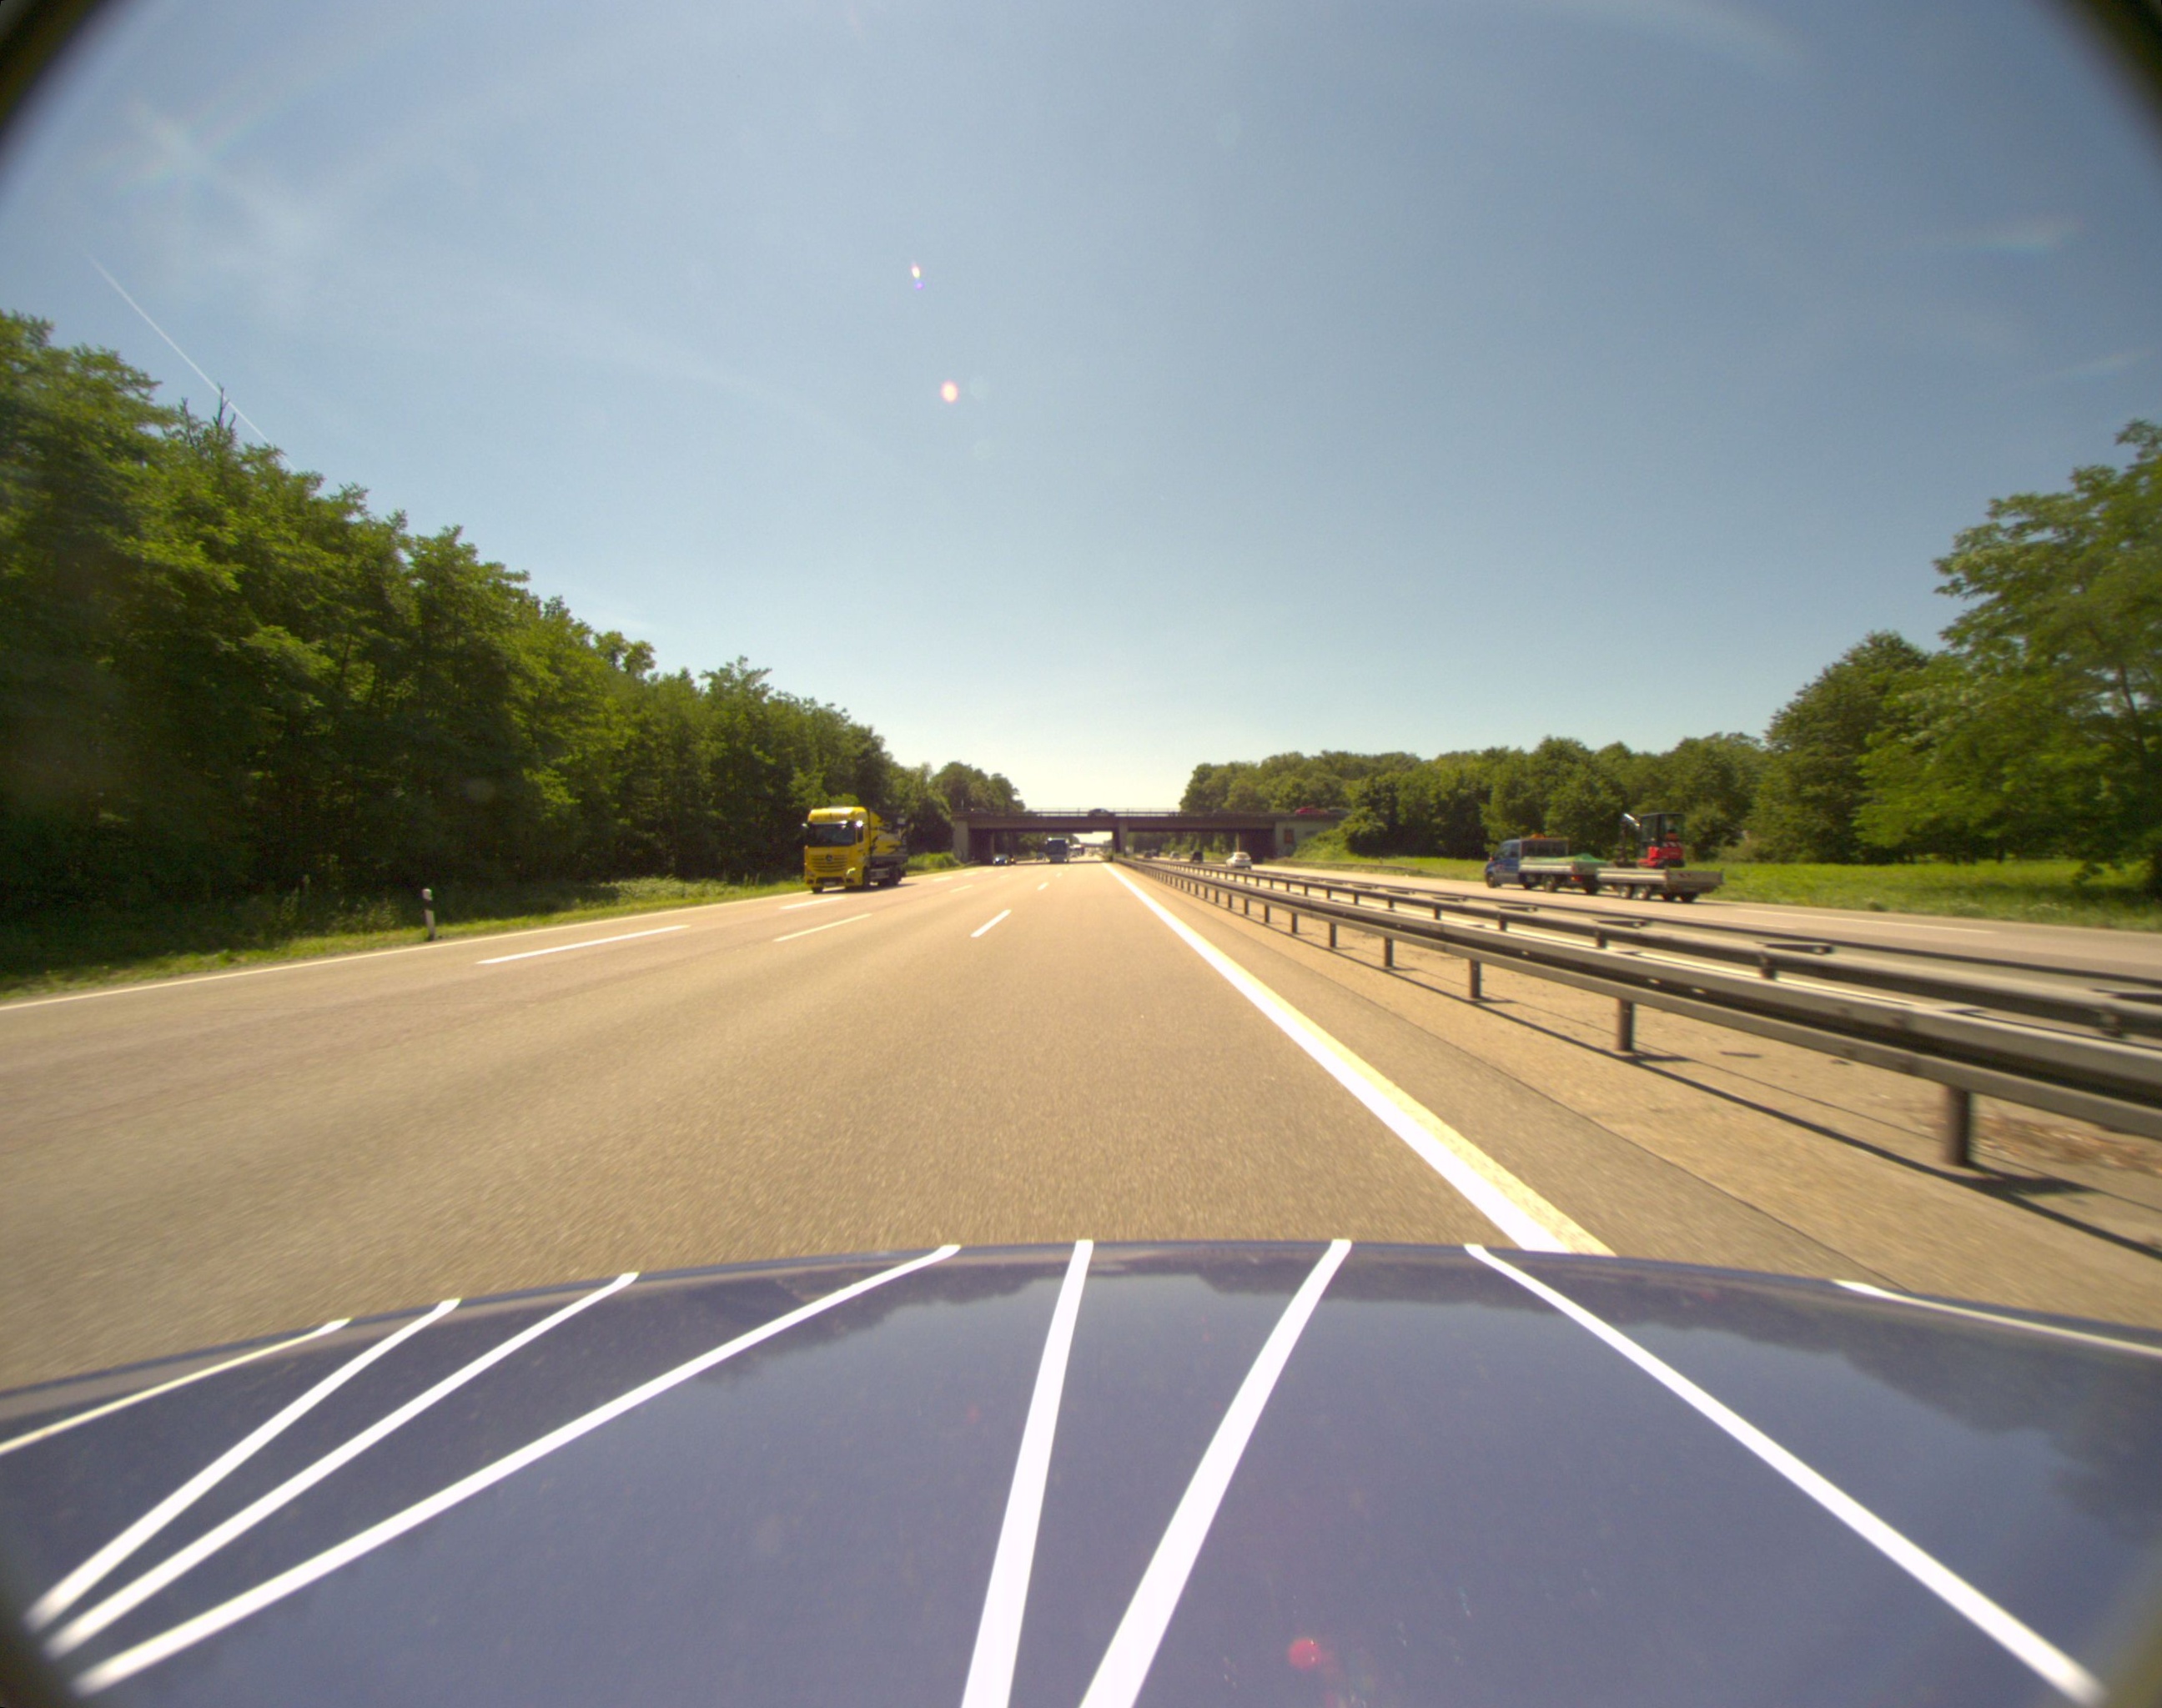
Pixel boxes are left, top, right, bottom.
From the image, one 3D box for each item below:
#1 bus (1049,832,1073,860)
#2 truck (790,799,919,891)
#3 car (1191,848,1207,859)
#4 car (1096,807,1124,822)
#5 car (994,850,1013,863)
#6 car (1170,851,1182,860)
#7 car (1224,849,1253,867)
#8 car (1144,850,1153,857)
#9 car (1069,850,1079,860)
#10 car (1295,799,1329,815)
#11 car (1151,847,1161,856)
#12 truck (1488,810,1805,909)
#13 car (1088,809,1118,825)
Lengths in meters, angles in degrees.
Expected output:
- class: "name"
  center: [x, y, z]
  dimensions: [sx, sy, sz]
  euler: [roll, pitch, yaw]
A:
- class: "bus"
  center: [-2.662, -1.098, 105.540]
  dimensions: [2.617, 3.532, 13.681]
  euler: [-2, 1, 1]
- class: "truck"
  center: [-11.351, -0.470, 39.635]
  dimensions: [2.982, 4.013, 10.981]
  euler: [-3, 1, 1]
- class: "car"
  center: [19.459, -0.163, 125.672]
  dimensions: [1.745, 1.753, 5.085]
  euler: [1, 1, -1]
- class: "car"
  center: [4.342, -5.987, 114.752]
  dimensions: [3.998, 2.002, 1.999]
  euler: [-2, 1, -2]
- class: "car"
  center: [-9.814, 0.332, 96.963]
  dimensions: [1.875, 1.547, 4.201]
  euler: [-2, 1, 1]
- class: "car"
  center: [19.024, 0.263, 152.604]
  dimensions: [1.744, 1.795, 4.934]
  euler: [1, 1, 1]
- class: "car"
  center: [13.970, 0.335, 67.659]
  dimensions: [1.692, 1.535, 4.204]
  euler: [-2, 1, 1]
- class: "car"
  center: [15.240, -0.122, 171.717]
  dimensions: [1.744, 1.709, 4.639]
  euler: [1, 1, 1]
- class: "car"
  center: [-1.867, 0.307, 201.899]
  dimensions: [2.616, 2.389, 7.122]
  euler: [-2, 1, 0]
- class: "car"
  center: [33.016, -6.690, 108.598]
  dimensions: [4.156, 2.002, 1.999]
  euler: [-2, 1, -2]
- class: "car"
  center: [20.735, -0.601, 209.788]
  dimensions: [2.094, 2.385, 5.733]
  euler: [-2, 1, 0]
- class: "truck"
  center: [20.482, 0.088, 29.336]
  dimensions: [2.760, 2.973, 12.854]
  euler: [0, 1, 1]
- class: "car"
  center: [3.111, -5.206, 107.631]
  dimensions: [3.998, 2.002, 1.999]
  euler: [-2, 1, -2]
